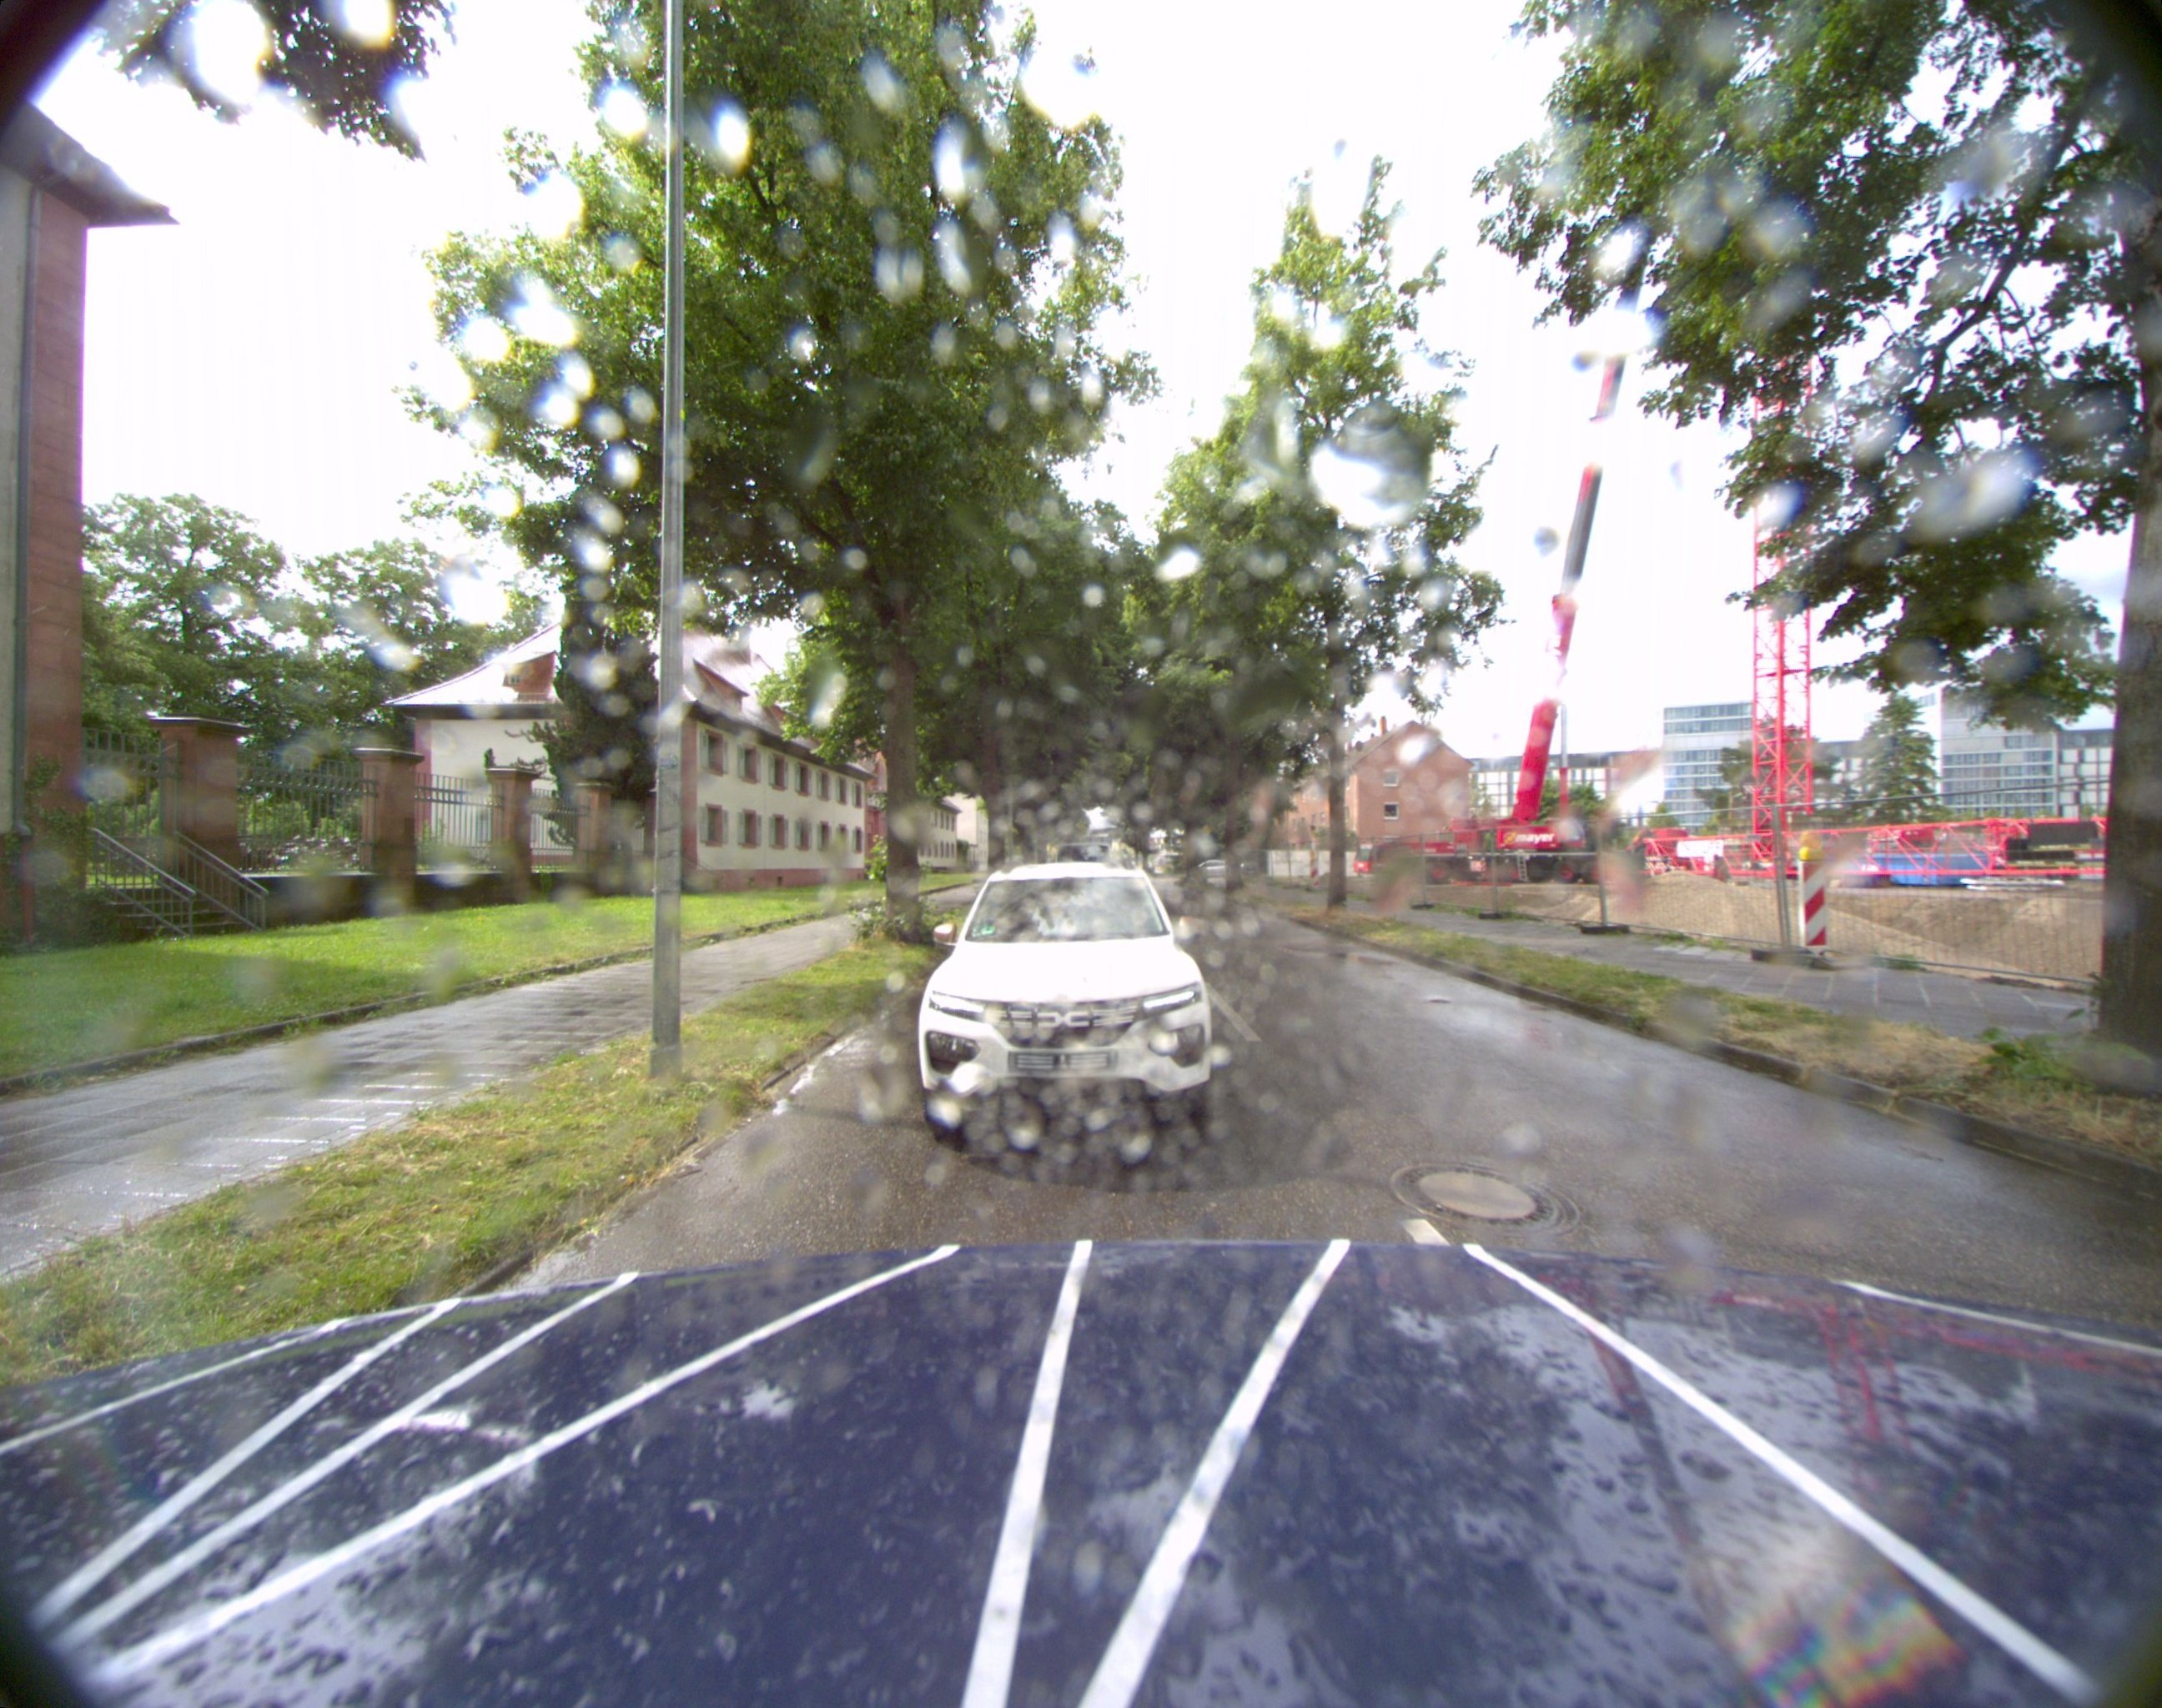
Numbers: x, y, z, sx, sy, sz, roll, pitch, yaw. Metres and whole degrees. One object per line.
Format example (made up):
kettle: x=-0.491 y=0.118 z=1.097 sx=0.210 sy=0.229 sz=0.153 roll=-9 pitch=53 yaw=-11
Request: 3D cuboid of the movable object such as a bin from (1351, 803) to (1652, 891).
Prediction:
movable object such as a bin: x=24.890 y=-0.399 z=45.708 sx=15.941 sy=4.532 sz=3.102 roll=-2 pitch=1 yaw=4

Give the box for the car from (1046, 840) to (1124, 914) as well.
car: x=0.054 y=0.632 z=23.934 sx=2.107 sy=1.990 sz=5.433 roll=-2 pitch=1 yaw=-1

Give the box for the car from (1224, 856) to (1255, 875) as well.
car: x=13.448 y=0.941 z=64.814 sx=1.693 sy=1.521 sz=3.999 roll=-2 pitch=1 yaw=-1

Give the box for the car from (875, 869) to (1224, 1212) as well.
car: x=-0.111 y=0.923 z=5.591 sx=1.608 sy=1.499 sz=4.000 roll=-2 pitch=0 yaw=1

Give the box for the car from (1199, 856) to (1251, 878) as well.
car: x=11.364 y=1.002 z=60.019 sx=3.866 sy=1.543 sz=1.699 roll=-2 pitch=1 yaw=10

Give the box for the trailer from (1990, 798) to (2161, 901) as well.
trailer: x=35.724 y=-0.192 z=21.445 sx=2.968 sy=3.214 sz=14.309 roll=-4 pitch=0 yaw=0
